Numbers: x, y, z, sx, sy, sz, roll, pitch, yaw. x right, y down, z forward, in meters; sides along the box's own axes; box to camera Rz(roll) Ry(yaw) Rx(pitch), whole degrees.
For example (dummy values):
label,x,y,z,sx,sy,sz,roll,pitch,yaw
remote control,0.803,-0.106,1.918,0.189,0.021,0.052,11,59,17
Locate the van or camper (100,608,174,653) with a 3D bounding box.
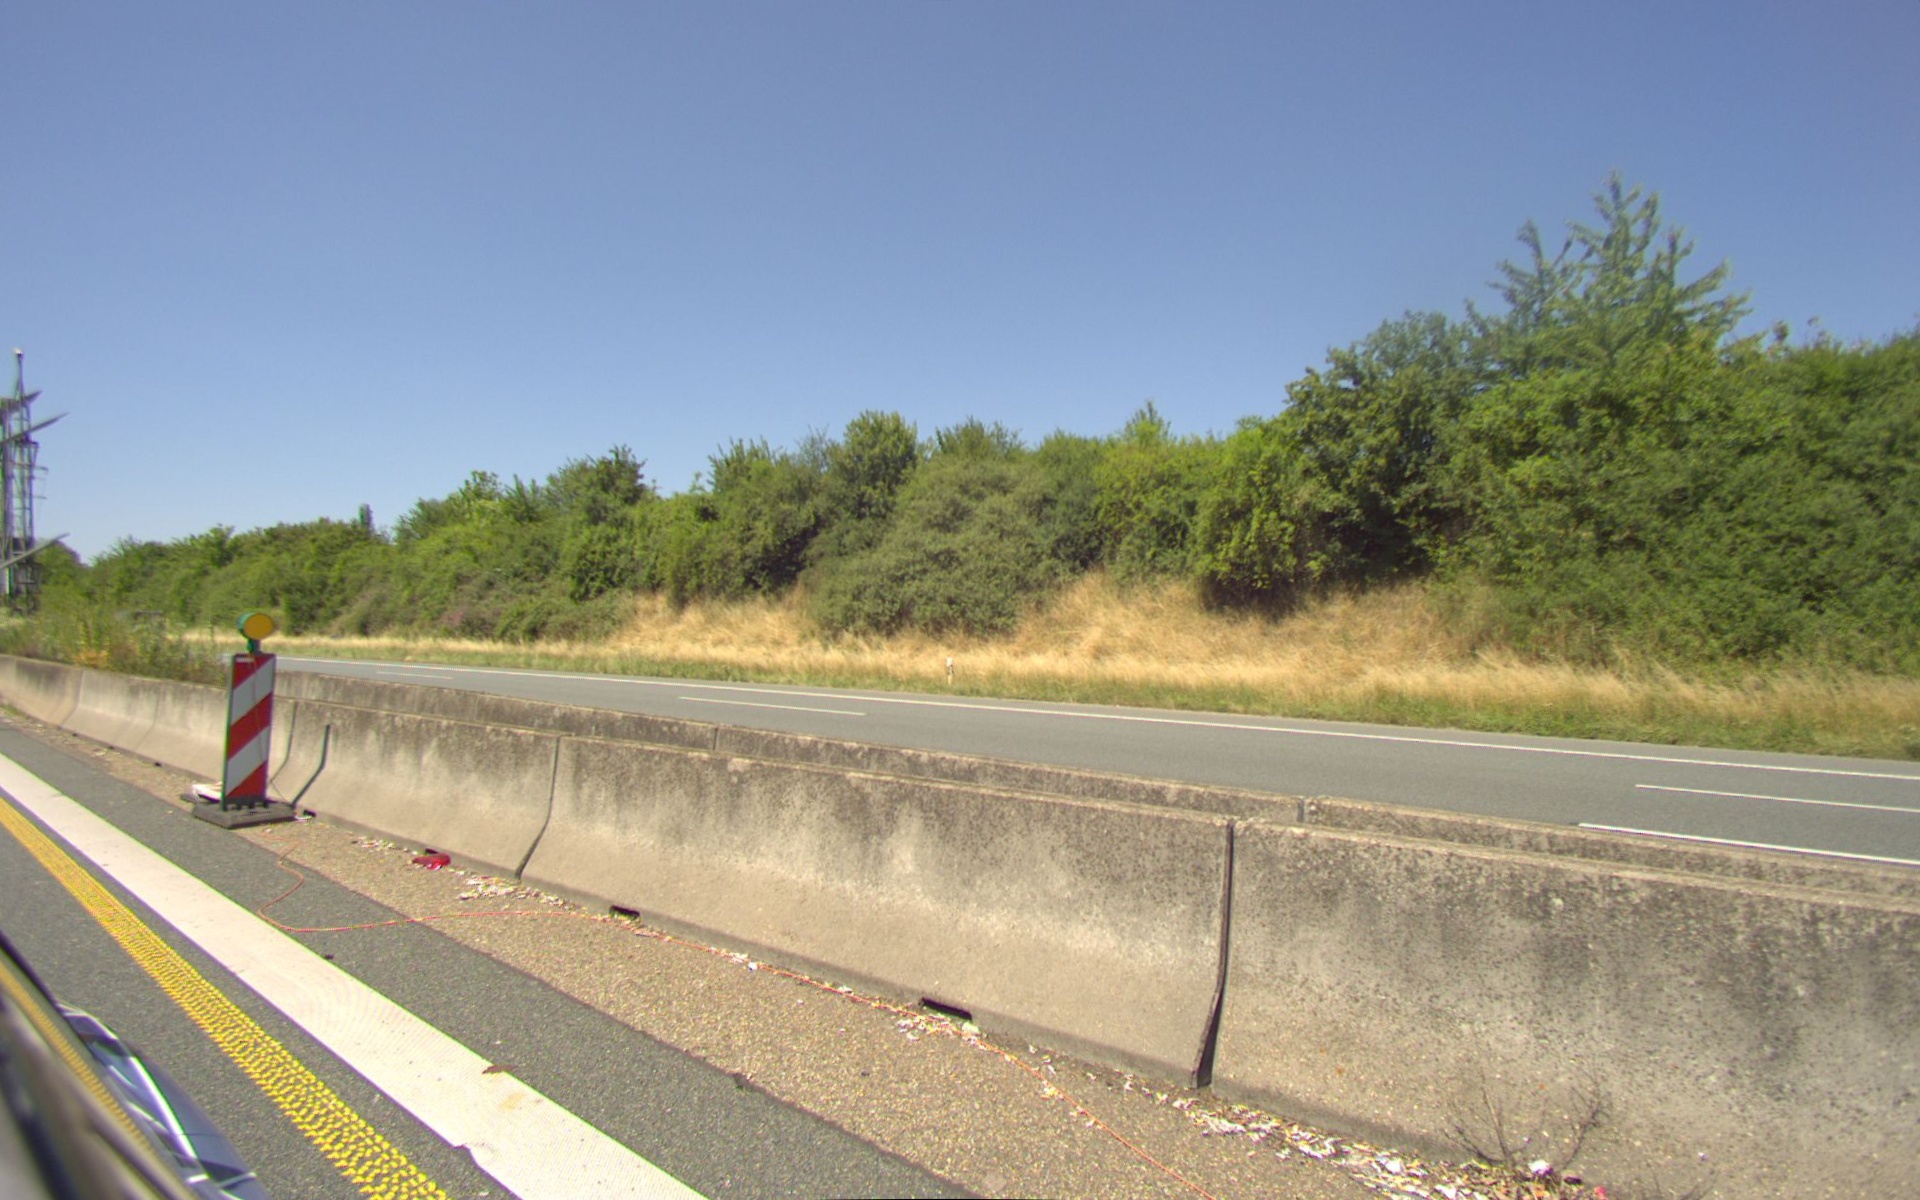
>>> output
label,x,y,z,sx,sy,sz,roll,pitch,yaw
van or camper,-52.464,1.936,64.486,7.074,2.731,2.200,-1,-4,40
